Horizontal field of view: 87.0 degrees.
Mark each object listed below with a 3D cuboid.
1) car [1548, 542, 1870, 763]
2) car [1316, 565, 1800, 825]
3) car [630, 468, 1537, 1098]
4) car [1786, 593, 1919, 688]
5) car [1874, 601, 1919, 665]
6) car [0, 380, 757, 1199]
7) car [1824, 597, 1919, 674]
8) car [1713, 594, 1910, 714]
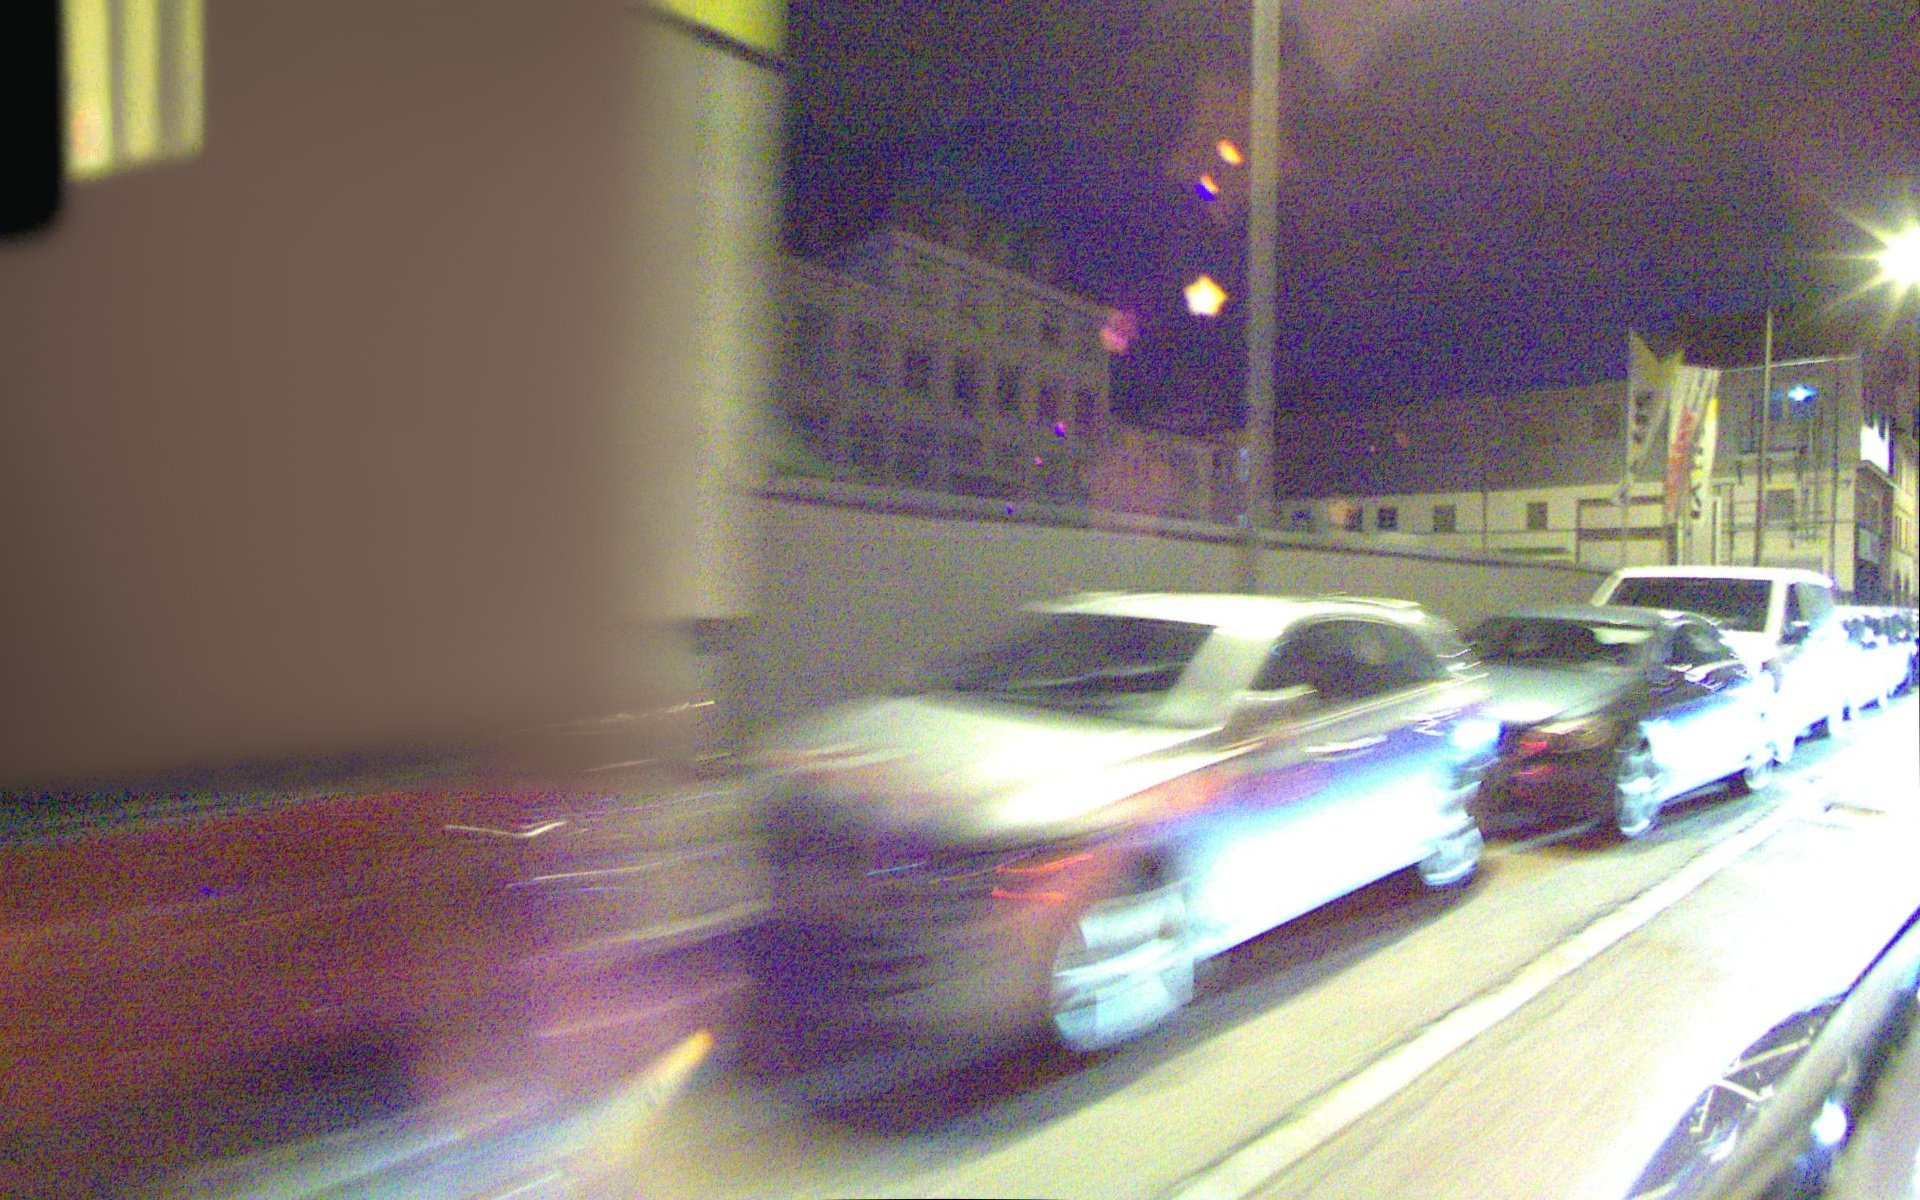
[{"bbox_3d":[8.254,0.427,10.970,4.690,1.898,1.804,0,2,-41],"label":"car"},{"bbox_3d":[4.693,0.519,7.712,4.113,1.445,1.821,0,2,-39],"label":"car"},{"bbox_3d":[0.997,0.445,4.828,4.551,1.608,1.825,0,1,-44],"label":"car"},{"bbox_3d":[16.140,0.638,18.035,3.654,1.485,1.598,-1,1,-41],"label":"car"},{"bbox_3d":[24.503,0.793,25.397,4.402,1.444,1.782,-1,1,-40],"label":"car"},{"bbox_3d":[-2.689,0.476,1.472,4.382,1.643,1.826,0,1,-43],"label":"car"},{"bbox_3d":[19.461,0.675,21.044,3.825,1.444,1.781,-1,1,-42],"label":"car"},{"bbox_3d":[12.395,0.665,14.656,3.823,1.485,1.598,-1,1,-41],"label":"car"}]
